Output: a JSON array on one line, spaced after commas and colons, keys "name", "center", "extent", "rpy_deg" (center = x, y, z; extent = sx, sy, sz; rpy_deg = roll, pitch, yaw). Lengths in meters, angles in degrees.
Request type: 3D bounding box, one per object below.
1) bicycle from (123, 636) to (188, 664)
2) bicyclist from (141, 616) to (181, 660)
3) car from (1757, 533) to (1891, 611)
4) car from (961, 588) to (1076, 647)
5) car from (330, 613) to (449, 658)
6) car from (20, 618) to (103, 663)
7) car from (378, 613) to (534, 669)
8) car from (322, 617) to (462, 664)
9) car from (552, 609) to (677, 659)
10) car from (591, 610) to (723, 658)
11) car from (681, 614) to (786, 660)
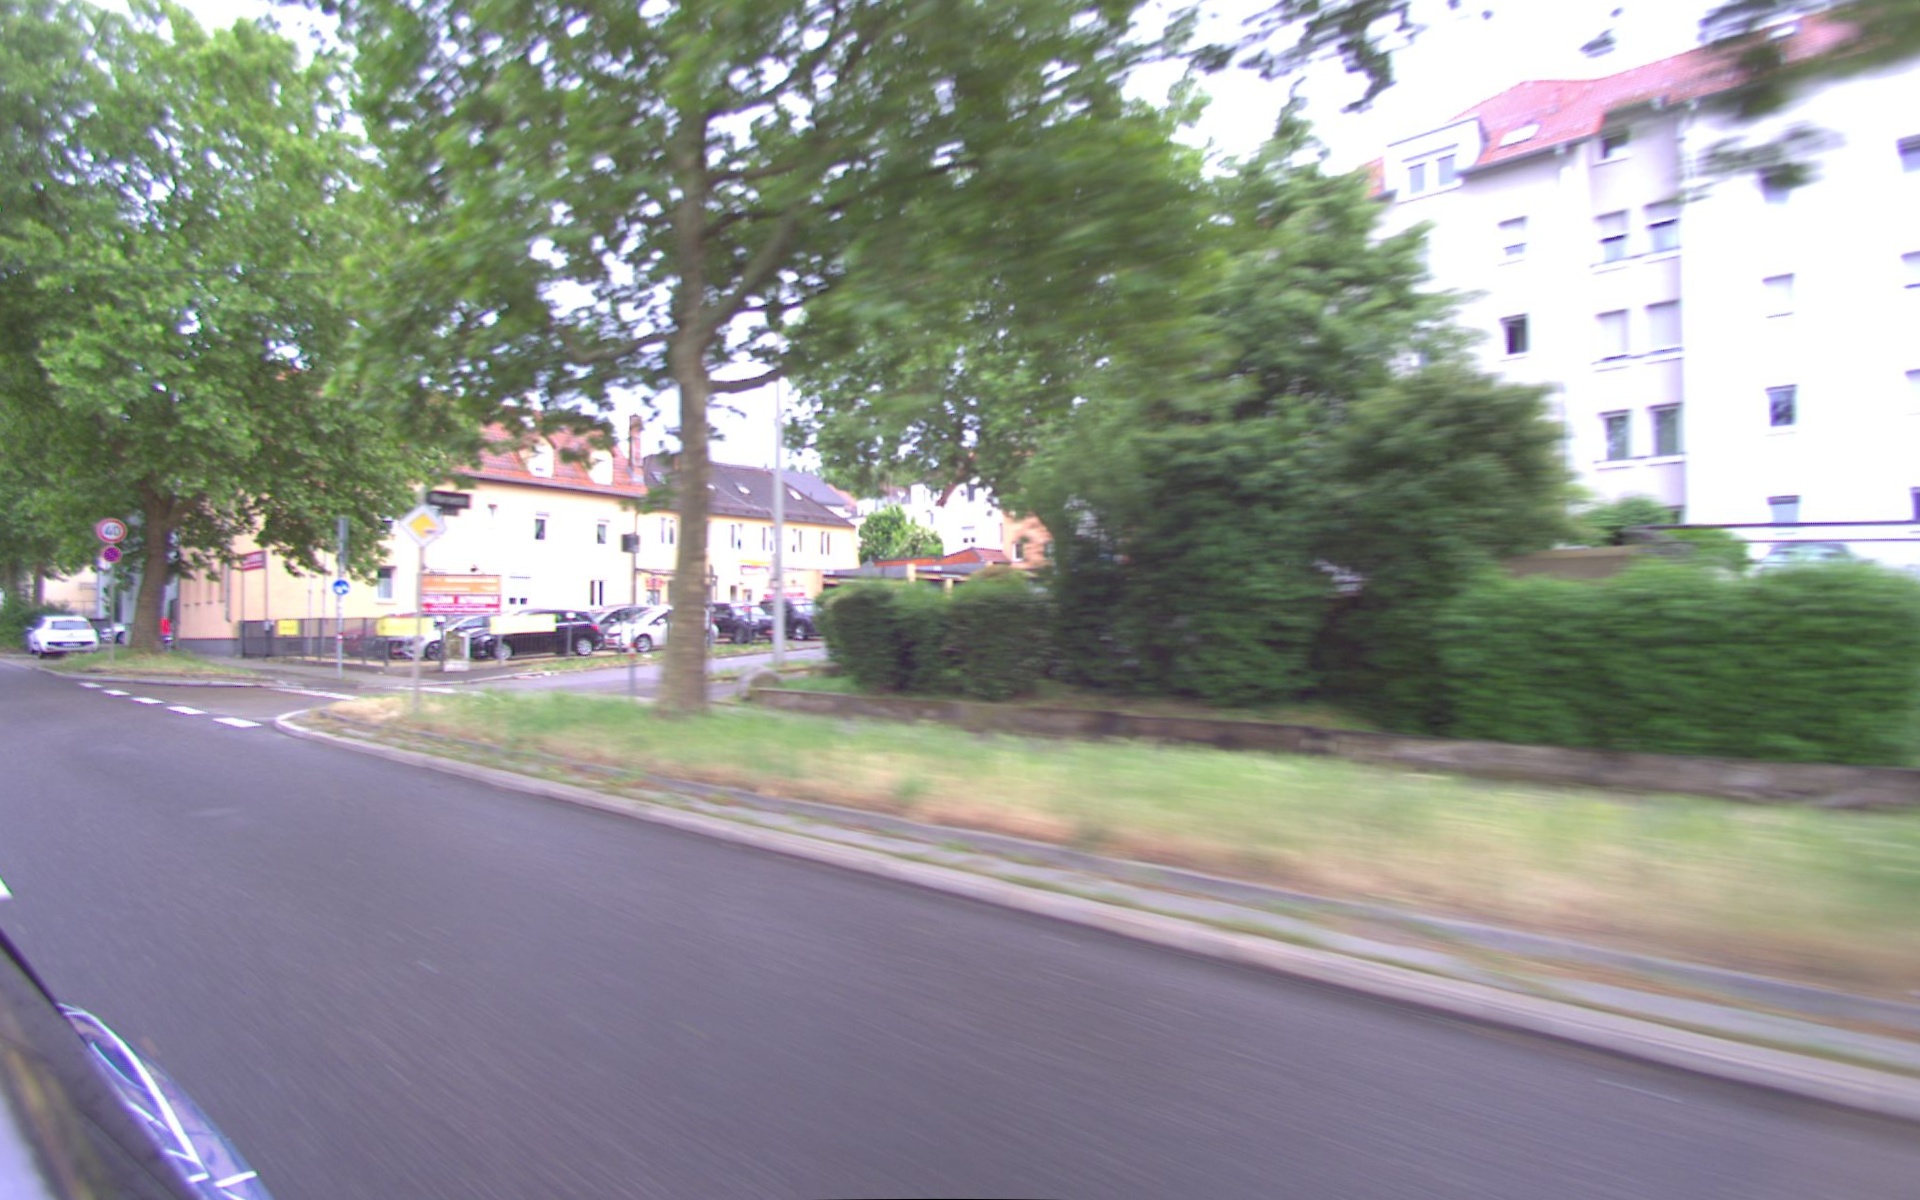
[{"name": "bicycle", "center": [-29.633, 1.832, 37.288], "extent": [2.241, 1.003, 0.554], "rpy_deg": [0, 1, 11]}, {"name": "bicyclist", "center": [-29.410, 1.384, 37.254], "extent": [0.808, 1.564, 0.832], "rpy_deg": [0, 1, 10]}, {"name": "car", "center": [16.388, -0.504, 19.127], "extent": [1.745, 1.328, 3.943], "rpy_deg": [1, 1, 43]}, {"name": "car", "center": [2.031, 0.521, 34.344], "extent": [1.879, 1.792, 3.946], "rpy_deg": [0, 2, 40]}, {"name": "car", "center": [-23.693, 1.430, 42.133], "extent": [1.782, 1.626, 3.944], "rpy_deg": [-1, 1, 43]}, {"name": "car", "center": [-33.477, 1.494, 37.670], "extent": [4.349, 1.563, 1.767], "rpy_deg": [-1, -1, 41]}, {"name": "car", "center": [-16.560, 1.279, 33.421], "extent": [1.981, 1.550, 4.166], "rpy_deg": [0, 2, 39]}, {"name": "car", "center": [-20.661, 1.420, 36.913], "extent": [1.958, 1.509, 4.053], "rpy_deg": [-1, 0, 43]}, {"name": "car", "center": [-12.759, 1.200, 37.542], "extent": [1.998, 1.665, 3.947], "rpy_deg": [0, 0, 40]}, {"name": "car", "center": [-10.699, 1.149, 35.975], "extent": [1.998, 1.508, 4.125], "rpy_deg": [0, 1, 39]}, {"name": "car", "center": [-9.429, 1.512, 42.322], "extent": [1.887, 1.696, 3.943], "rpy_deg": [1, 1, 43]}]
